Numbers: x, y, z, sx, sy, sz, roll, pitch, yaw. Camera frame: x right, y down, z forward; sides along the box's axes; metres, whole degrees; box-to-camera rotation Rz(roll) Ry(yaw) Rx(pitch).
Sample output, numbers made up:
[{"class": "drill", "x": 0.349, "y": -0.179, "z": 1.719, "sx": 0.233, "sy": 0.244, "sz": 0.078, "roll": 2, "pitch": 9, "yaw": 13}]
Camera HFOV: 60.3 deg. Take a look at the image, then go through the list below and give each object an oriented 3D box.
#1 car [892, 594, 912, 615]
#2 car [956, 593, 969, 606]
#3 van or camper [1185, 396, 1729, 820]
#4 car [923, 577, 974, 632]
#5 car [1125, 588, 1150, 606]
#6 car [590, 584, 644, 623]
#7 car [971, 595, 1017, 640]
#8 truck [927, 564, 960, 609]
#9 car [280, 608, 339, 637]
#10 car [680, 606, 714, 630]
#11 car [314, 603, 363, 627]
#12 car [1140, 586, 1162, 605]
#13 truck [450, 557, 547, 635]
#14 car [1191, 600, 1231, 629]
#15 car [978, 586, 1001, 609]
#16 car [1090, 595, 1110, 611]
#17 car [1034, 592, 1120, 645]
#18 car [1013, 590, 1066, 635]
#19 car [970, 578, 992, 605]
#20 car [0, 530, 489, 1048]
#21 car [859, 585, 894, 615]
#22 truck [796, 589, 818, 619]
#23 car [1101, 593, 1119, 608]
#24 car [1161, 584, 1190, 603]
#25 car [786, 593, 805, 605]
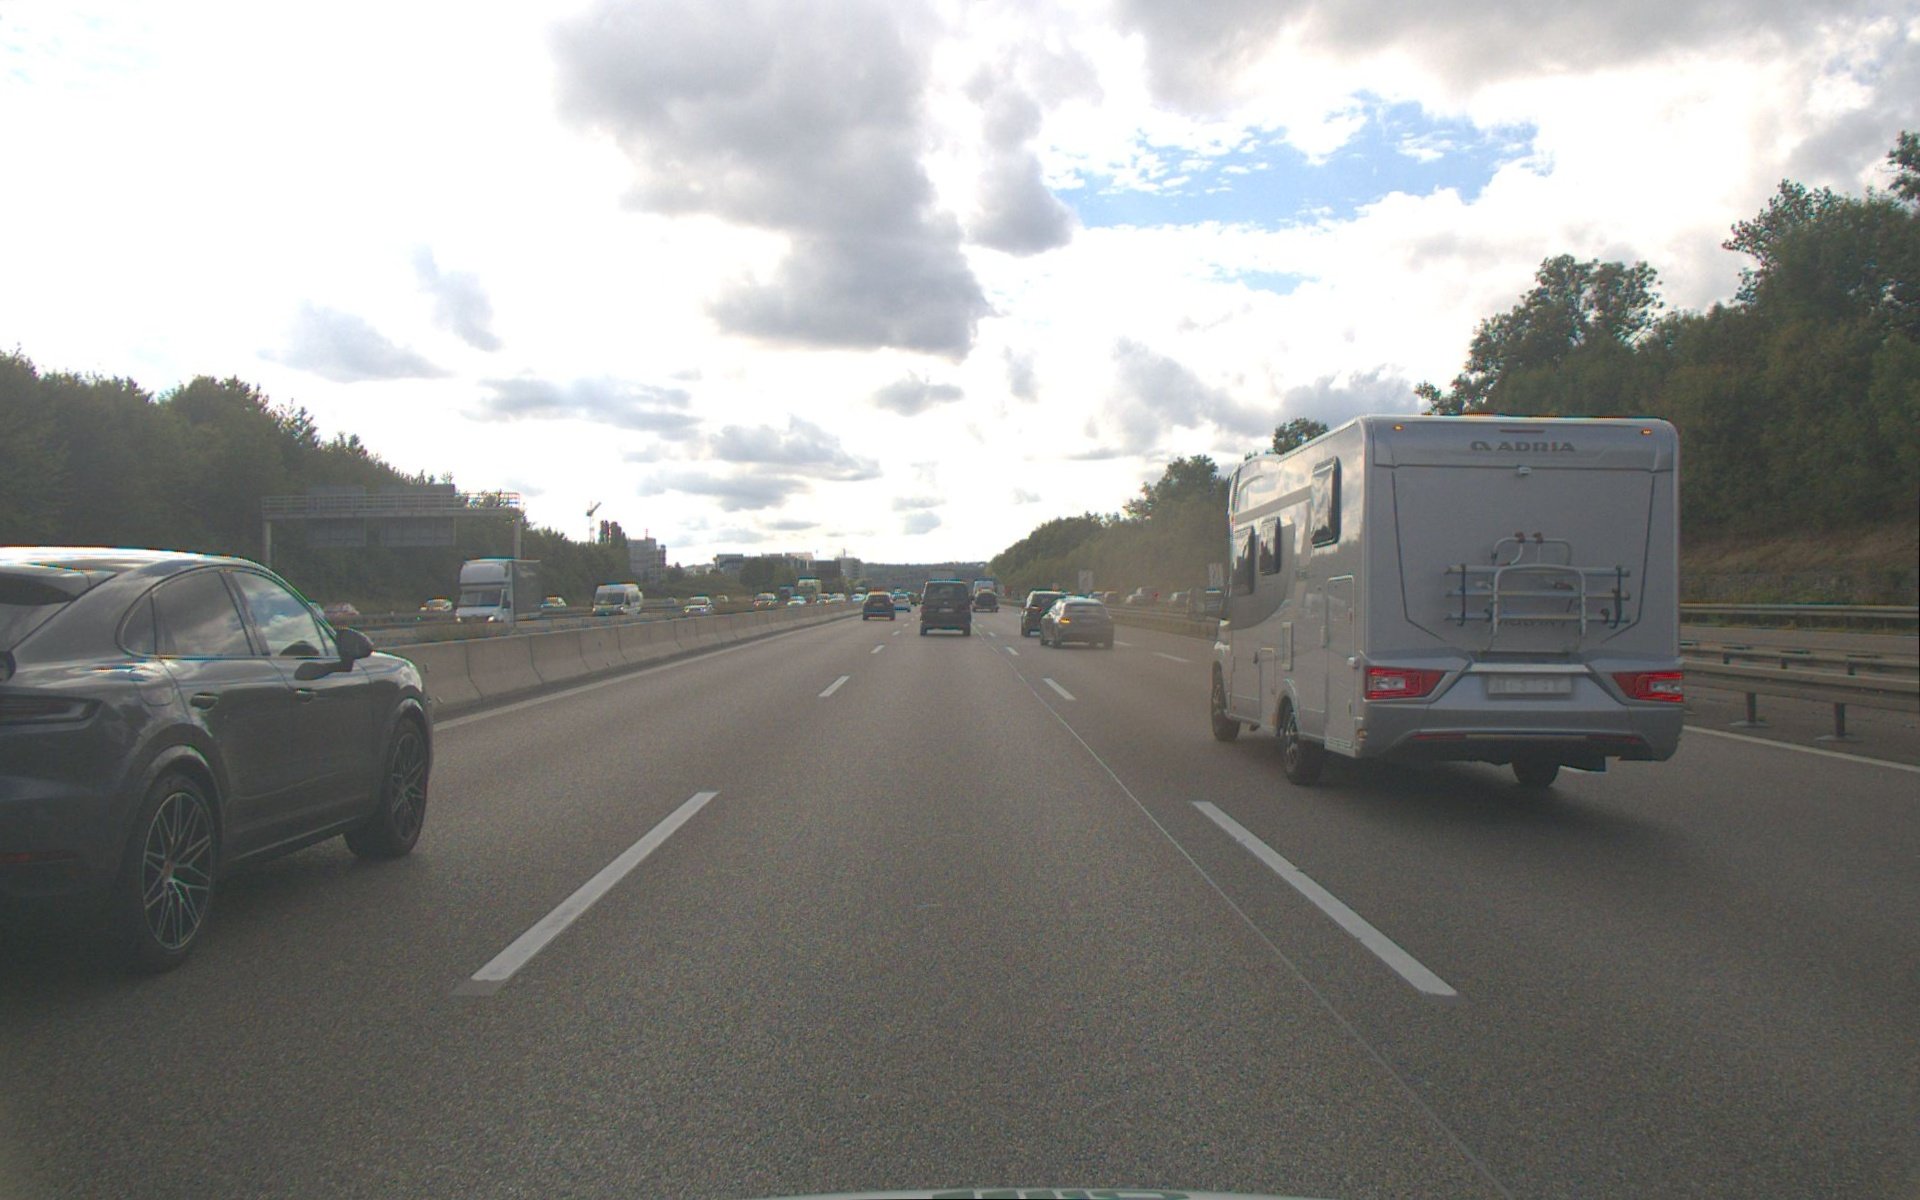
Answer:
[{"class": "car", "x": -4.754, "y": 0.349, "z": 135.778, "sx": 1.663, "sy": 1.639, "sz": 4.112, "roll": 0, "pitch": 0, "yaw": -2}, {"class": "car", "x": 0.367, "y": -0.038, "z": 222.823, "sx": 1.716, "sy": 1.725, "sz": 4.189, "roll": 0, "pitch": 0, "yaw": -1}, {"class": "van or camper", "x": 3.812, "y": 0.041, "z": 14.757, "sx": 2.418, "sy": 2.769, "sz": 7.660, "roll": 1, "pitch": 0, "yaw": -1}, {"class": "car", "x": -0.446, "y": 0.147, "z": 60.979, "sx": 1.817, "sy": 1.944, "sz": 4.259, "roll": 0, "pitch": 0, "yaw": -1}, {"class": "car", "x": 15.098, "y": -0.245, "z": 140.722, "sx": 1.563, "sy": 1.573, "sz": 4.188, "roll": 0, "pitch": 0, "yaw": -2}, {"class": "car", "x": -21.014, "y": 0.188, "z": 101.600, "sx": 2.120, "sy": 2.311, "sz": 6.459, "roll": -1, "pitch": 0, "yaw": -1}, {"class": "car", "x": 1.327, "y": 0.667, "z": 66.645, "sx": 1.686, "sy": 1.754, "sz": 4.390, "roll": 0, "pitch": 0, "yaw": -1}, {"class": "truck", "x": -1.708, "y": -1.352, "z": 170.219, "sx": 3.196, "sy": 4.451, "sz": 11.024, "roll": 1, "pitch": 0, "yaw": -1}, {"class": "car", "x": -33.633, "y": 1.144, "z": 85.571, "sx": 1.532, "sy": 1.389, "sz": 4.050, "roll": -1, "pitch": 0, "yaw": -1}, {"class": "car", "x": -17.572, "y": 1.196, "z": 110.746, "sx": 1.702, "sy": 1.537, "sz": 4.050, "roll": -1, "pitch": 0, "yaw": -1}, {"class": "car", "x": -37.801, "y": 0.875, "z": 100.616, "sx": 1.532, "sy": 1.389, "sz": 4.050, "roll": -1, "pitch": 0, "yaw": -1}, {"class": "car", "x": 18.993, "y": -0.440, "z": 164.602, "sx": 1.563, "sy": 1.835, "sz": 3.823, "roll": 0, "pitch": 0, "yaw": -2}, {"class": "truck", "x": -20.667, "y": -0.179, "z": 74.485, "sx": 2.306, "sy": 3.321, "sz": 7.824, "roll": -1, "pitch": 0, "yaw": -1}, {"class": "car", "x": 15.797, "y": 0.908, "z": 104.250, "sx": 1.809, "sy": 1.679, "sz": 4.305, "roll": -2, "pitch": 0, "yaw": -1}, {"class": "car", "x": 2.508, "y": -0.214, "z": 141.354, "sx": 1.874, "sy": 1.952, "sz": 4.029, "roll": 0, "pitch": 0, "yaw": -1}, {"class": "car", "x": 14.920, "y": 0.287, "z": 176.032, "sx": 1.716, "sy": 1.725, "sz": 4.189, "roll": 0, "pitch": 0, "yaw": -1}, {"class": "car", "x": 3.404, "y": 0.514, "z": 48.893, "sx": 1.688, "sy": 1.505, "sz": 4.384, "roll": 0, "pitch": 0, "yaw": -8}, {"class": "car", "x": 2.900, "y": 0.432, "z": 61.141, "sx": 1.663, "sy": 1.592, "sz": 4.112, "roll": 0, "pitch": 0, "yaw": -2}, {"class": "car", "x": 1.899, "y": -0.794, "z": 148.226, "sx": 1.835, "sy": 2.399, "sz": 4.281, "roll": 0, "pitch": 0, "yaw": -1}, {"class": "car", "x": -3.969, "y": 0.596, "z": 8.040, "sx": 1.873, "sy": 1.664, "sz": 5.499, "roll": 0, "pitch": 0, "yaw": -1}, {"class": "car", "x": -4.818, "y": 0.009, "z": 95.874, "sx": 1.835, "sy": 1.728, "sz": 4.071, "roll": 0, "pitch": 0, "yaw": -1}, {"class": "truck", "x": -23.259, "y": 0.615, "z": 251.016, "sx": 2.837, "sy": 4.399, "sz": 5.161, "roll": -1, "pitch": 0, "yaw": -1}, {"class": "car", "x": 17.670, "y": 0.044, "z": 195.098, "sx": 1.716, "sy": 1.725, "sz": 4.189, "roll": 0, "pitch": 0, "yaw": -1}, {"class": "car", "x": 18.401, "y": -0.567, "z": 141.542, "sx": 1.694, "sy": 1.573, "sz": 4.304, "roll": -2, "pitch": 0, "yaw": -2}, {"class": "car", "x": -17.971, "y": -0.096, "z": 181.110, "sx": 1.735, "sy": 1.317, "sz": 4.674, "roll": 0, "pitch": 0, "yaw": -1}]
